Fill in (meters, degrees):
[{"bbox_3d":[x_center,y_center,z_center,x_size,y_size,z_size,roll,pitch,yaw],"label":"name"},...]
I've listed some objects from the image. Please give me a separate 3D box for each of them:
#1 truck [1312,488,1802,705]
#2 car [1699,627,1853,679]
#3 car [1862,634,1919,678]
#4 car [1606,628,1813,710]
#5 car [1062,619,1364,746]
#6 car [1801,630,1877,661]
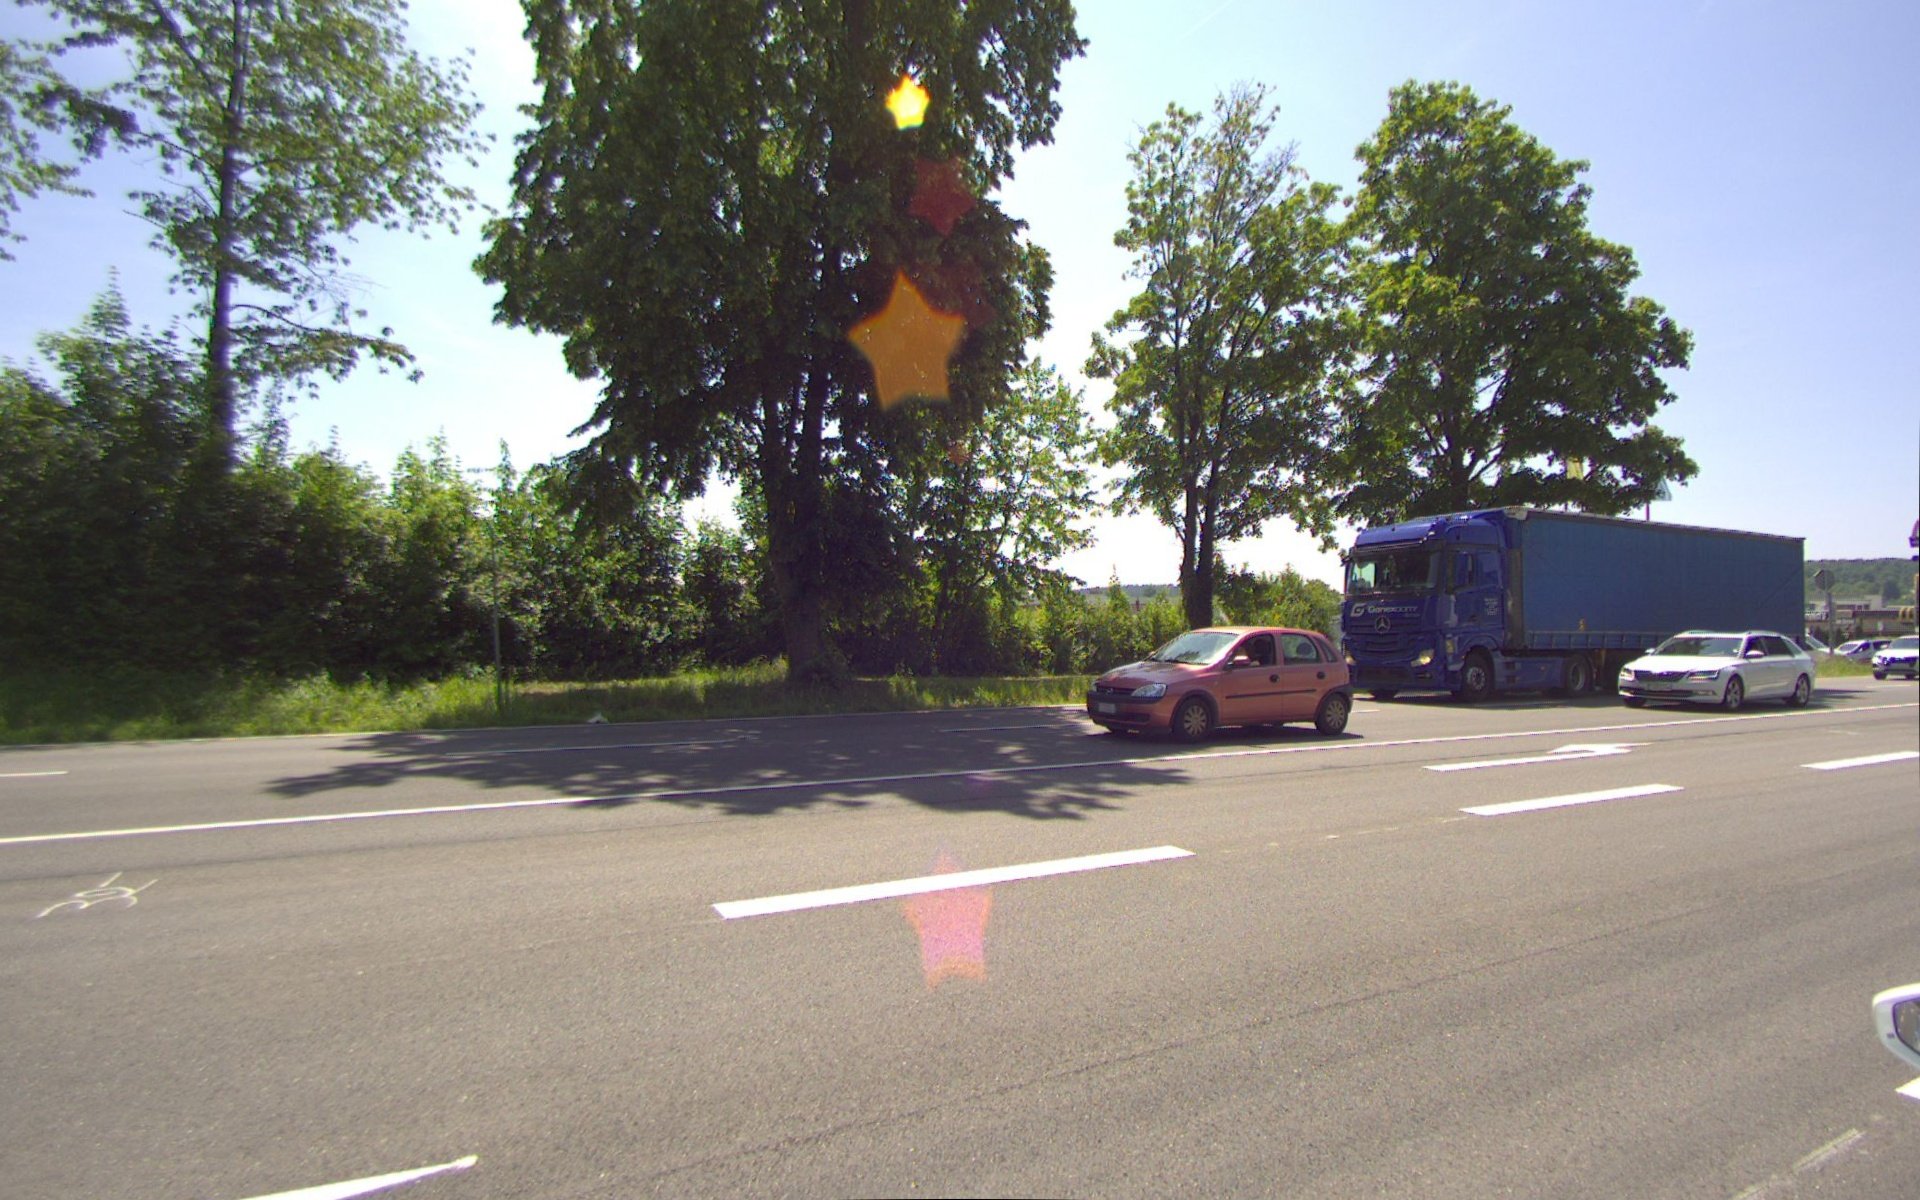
[{"bbox_3d":[15.534,0.180,24.981,16.380,4.231,2.954,2,-2,-30],"label":"truck"},{"bbox_3d":[43.952,2.900,54.260,2.173,2.519,5.956,1,-6,-35],"label":"car"},{"bbox_3d":[33.178,1.924,34.729,4.129,1.446,1.754,2,-2,-29],"label":"car"},{"bbox_3d":[14.756,1.306,19.718,4.510,1.433,1.691,2,-2,-31],"label":"car"},{"bbox_3d":[3.381,1.026,13.323,3.730,1.465,1.759,2,-2,-30],"label":"car"},{"bbox_3d":[60.030,3.101,68.683,1.959,2.040,4.003,1,-2,7],"label":"car"}]
